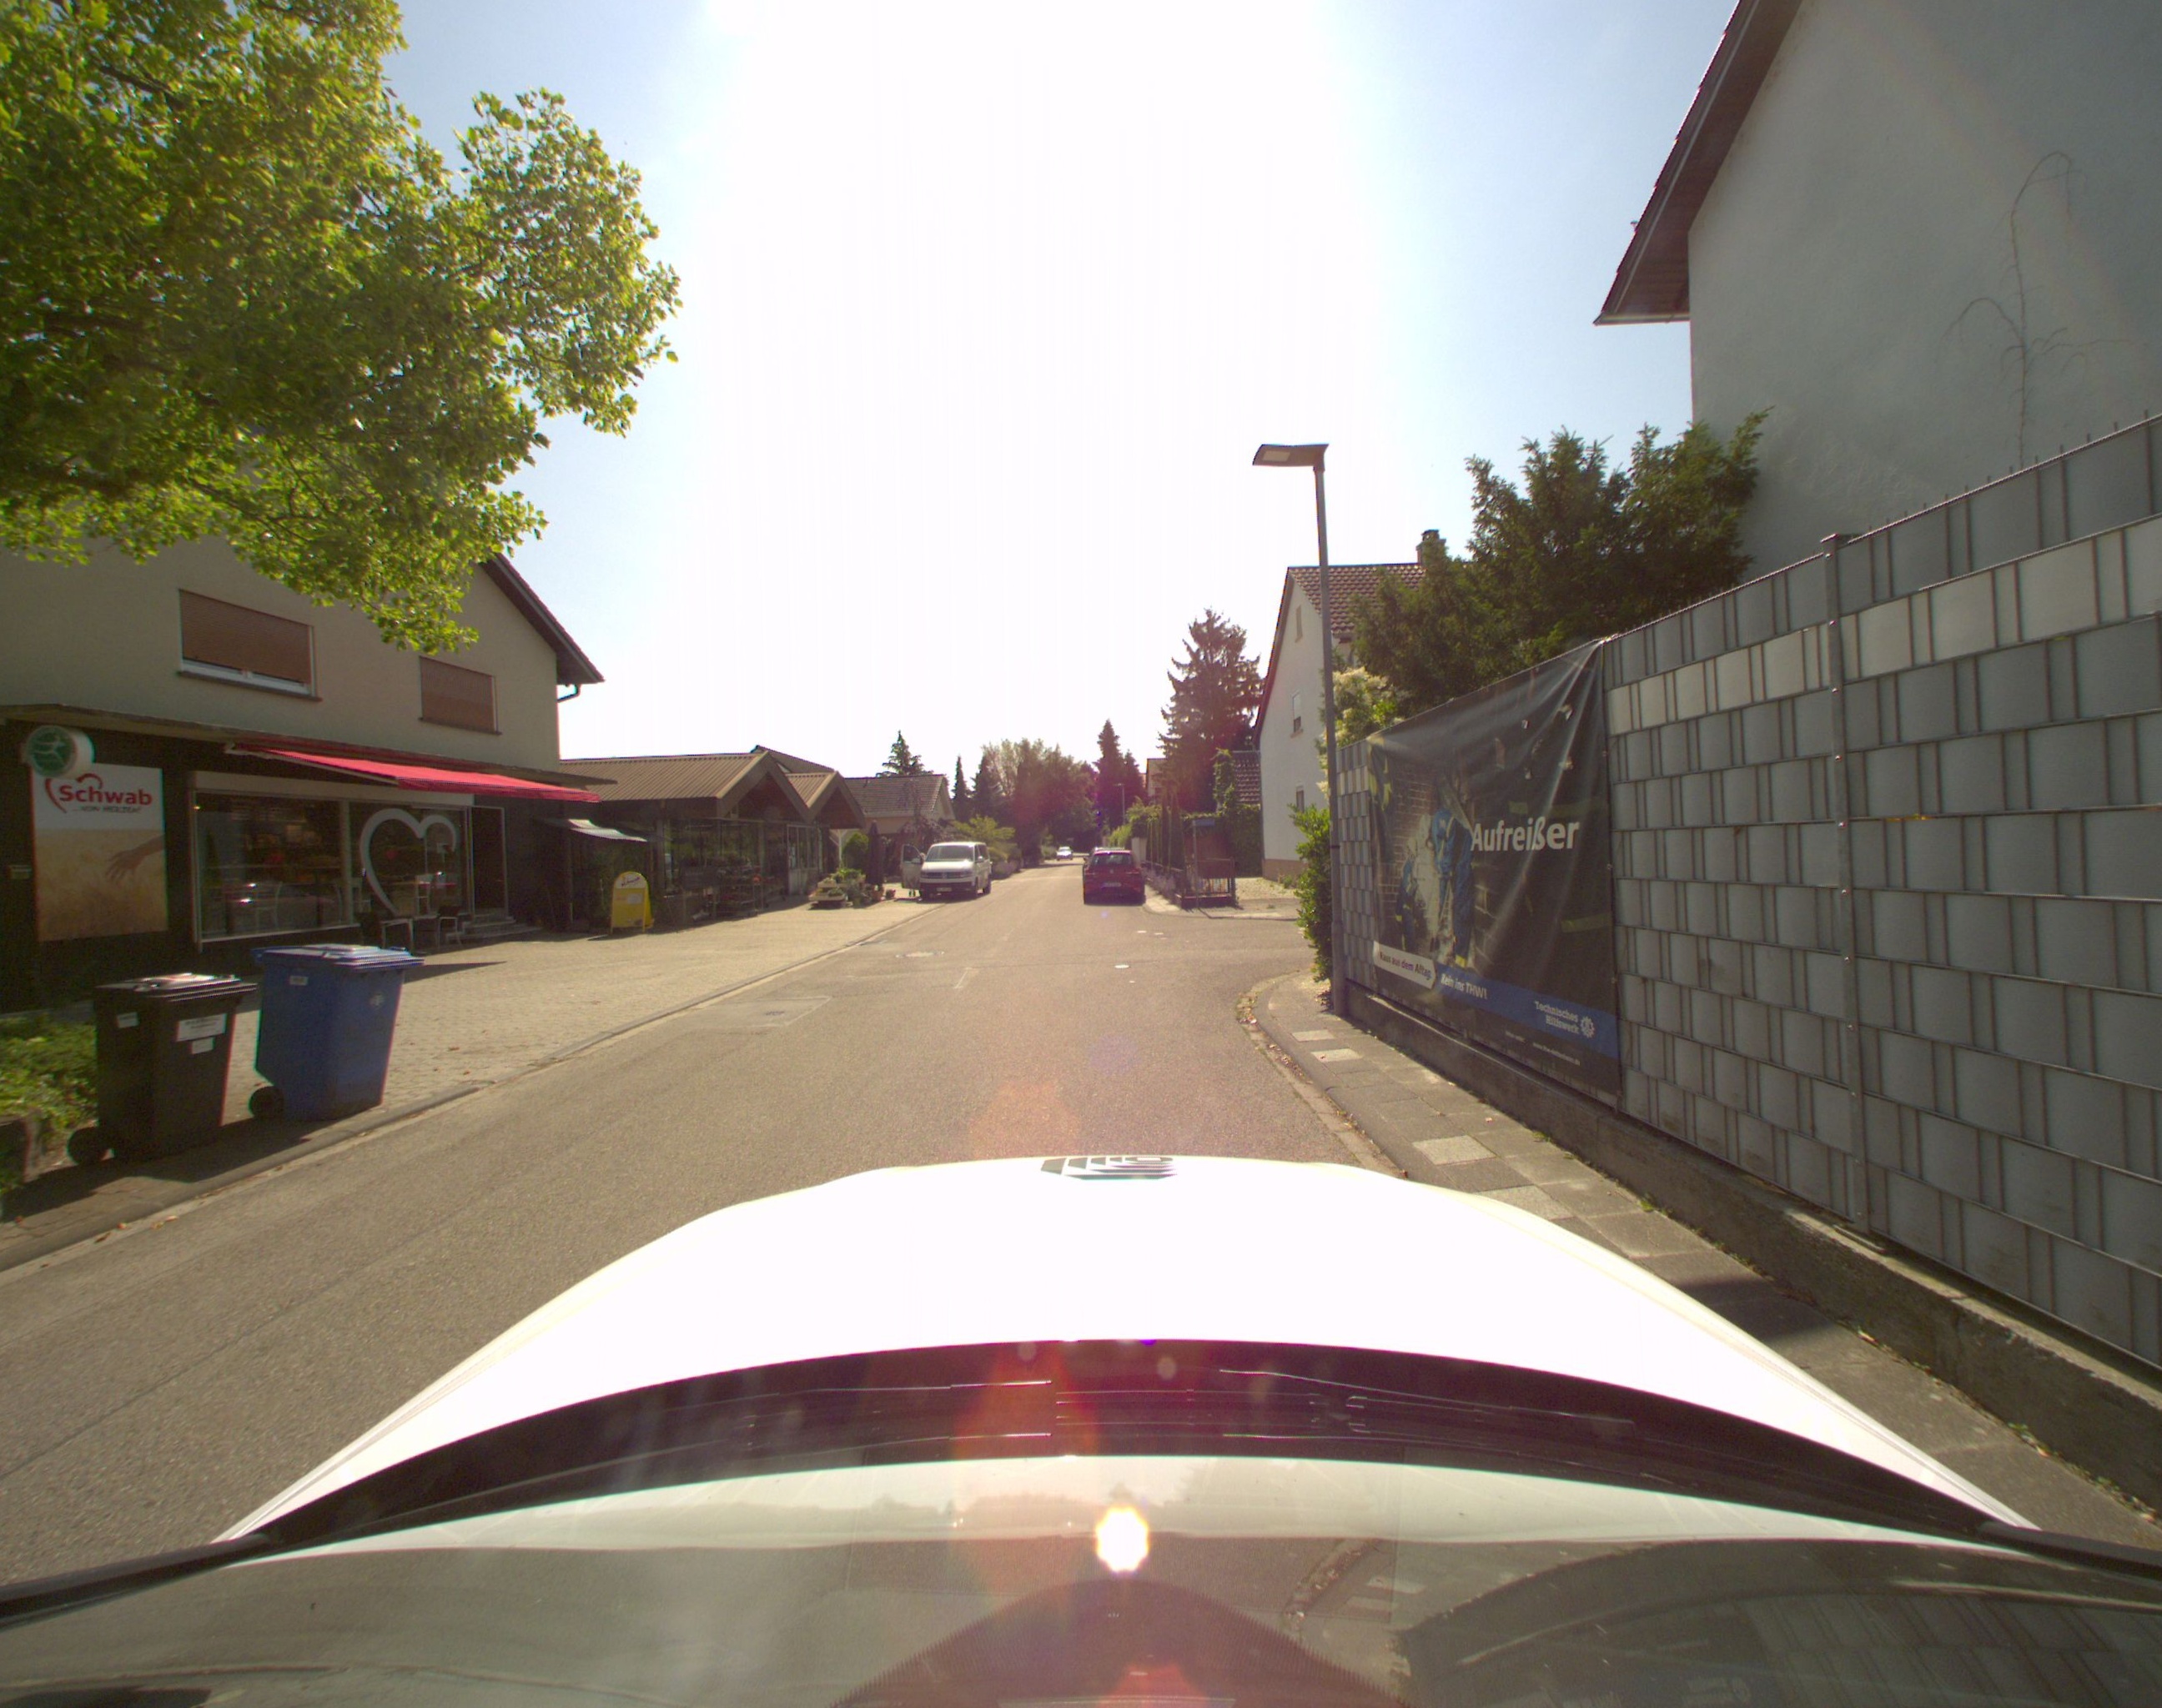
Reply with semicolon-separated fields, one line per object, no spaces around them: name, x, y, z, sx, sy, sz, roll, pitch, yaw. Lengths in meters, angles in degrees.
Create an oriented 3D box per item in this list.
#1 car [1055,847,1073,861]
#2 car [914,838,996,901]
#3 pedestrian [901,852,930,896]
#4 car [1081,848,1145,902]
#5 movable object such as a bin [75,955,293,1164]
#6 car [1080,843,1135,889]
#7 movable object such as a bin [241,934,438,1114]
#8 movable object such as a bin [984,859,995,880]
car;-1.823;0.015;90.945;1.746;1.487;4.377;-3;0;1
car;-4.382;0.482;29.165;1.921;2.013;4.899;-2;0;2
pedestrian;-5.938;0.717;29.174;0.710;1.538;0.646;-1;1;34
car;1.035;0.573;24.800;1.767;1.479;4.004;0;0;4
movable object such as a bin;-5.046;1.129;4.614;0.580;1.024;0.568;-1;0;0
car;0.966;0.418;31.654;1.818;1.615;3.997;-1;0;-2
movable object such as a bin;-4.907;1.099;5.431;0.728;1.054;0.612;-1;0;0
movable object such as a bin;-4.742;0.811;42.339;0.492;1.024;0.447;-3;0;0
